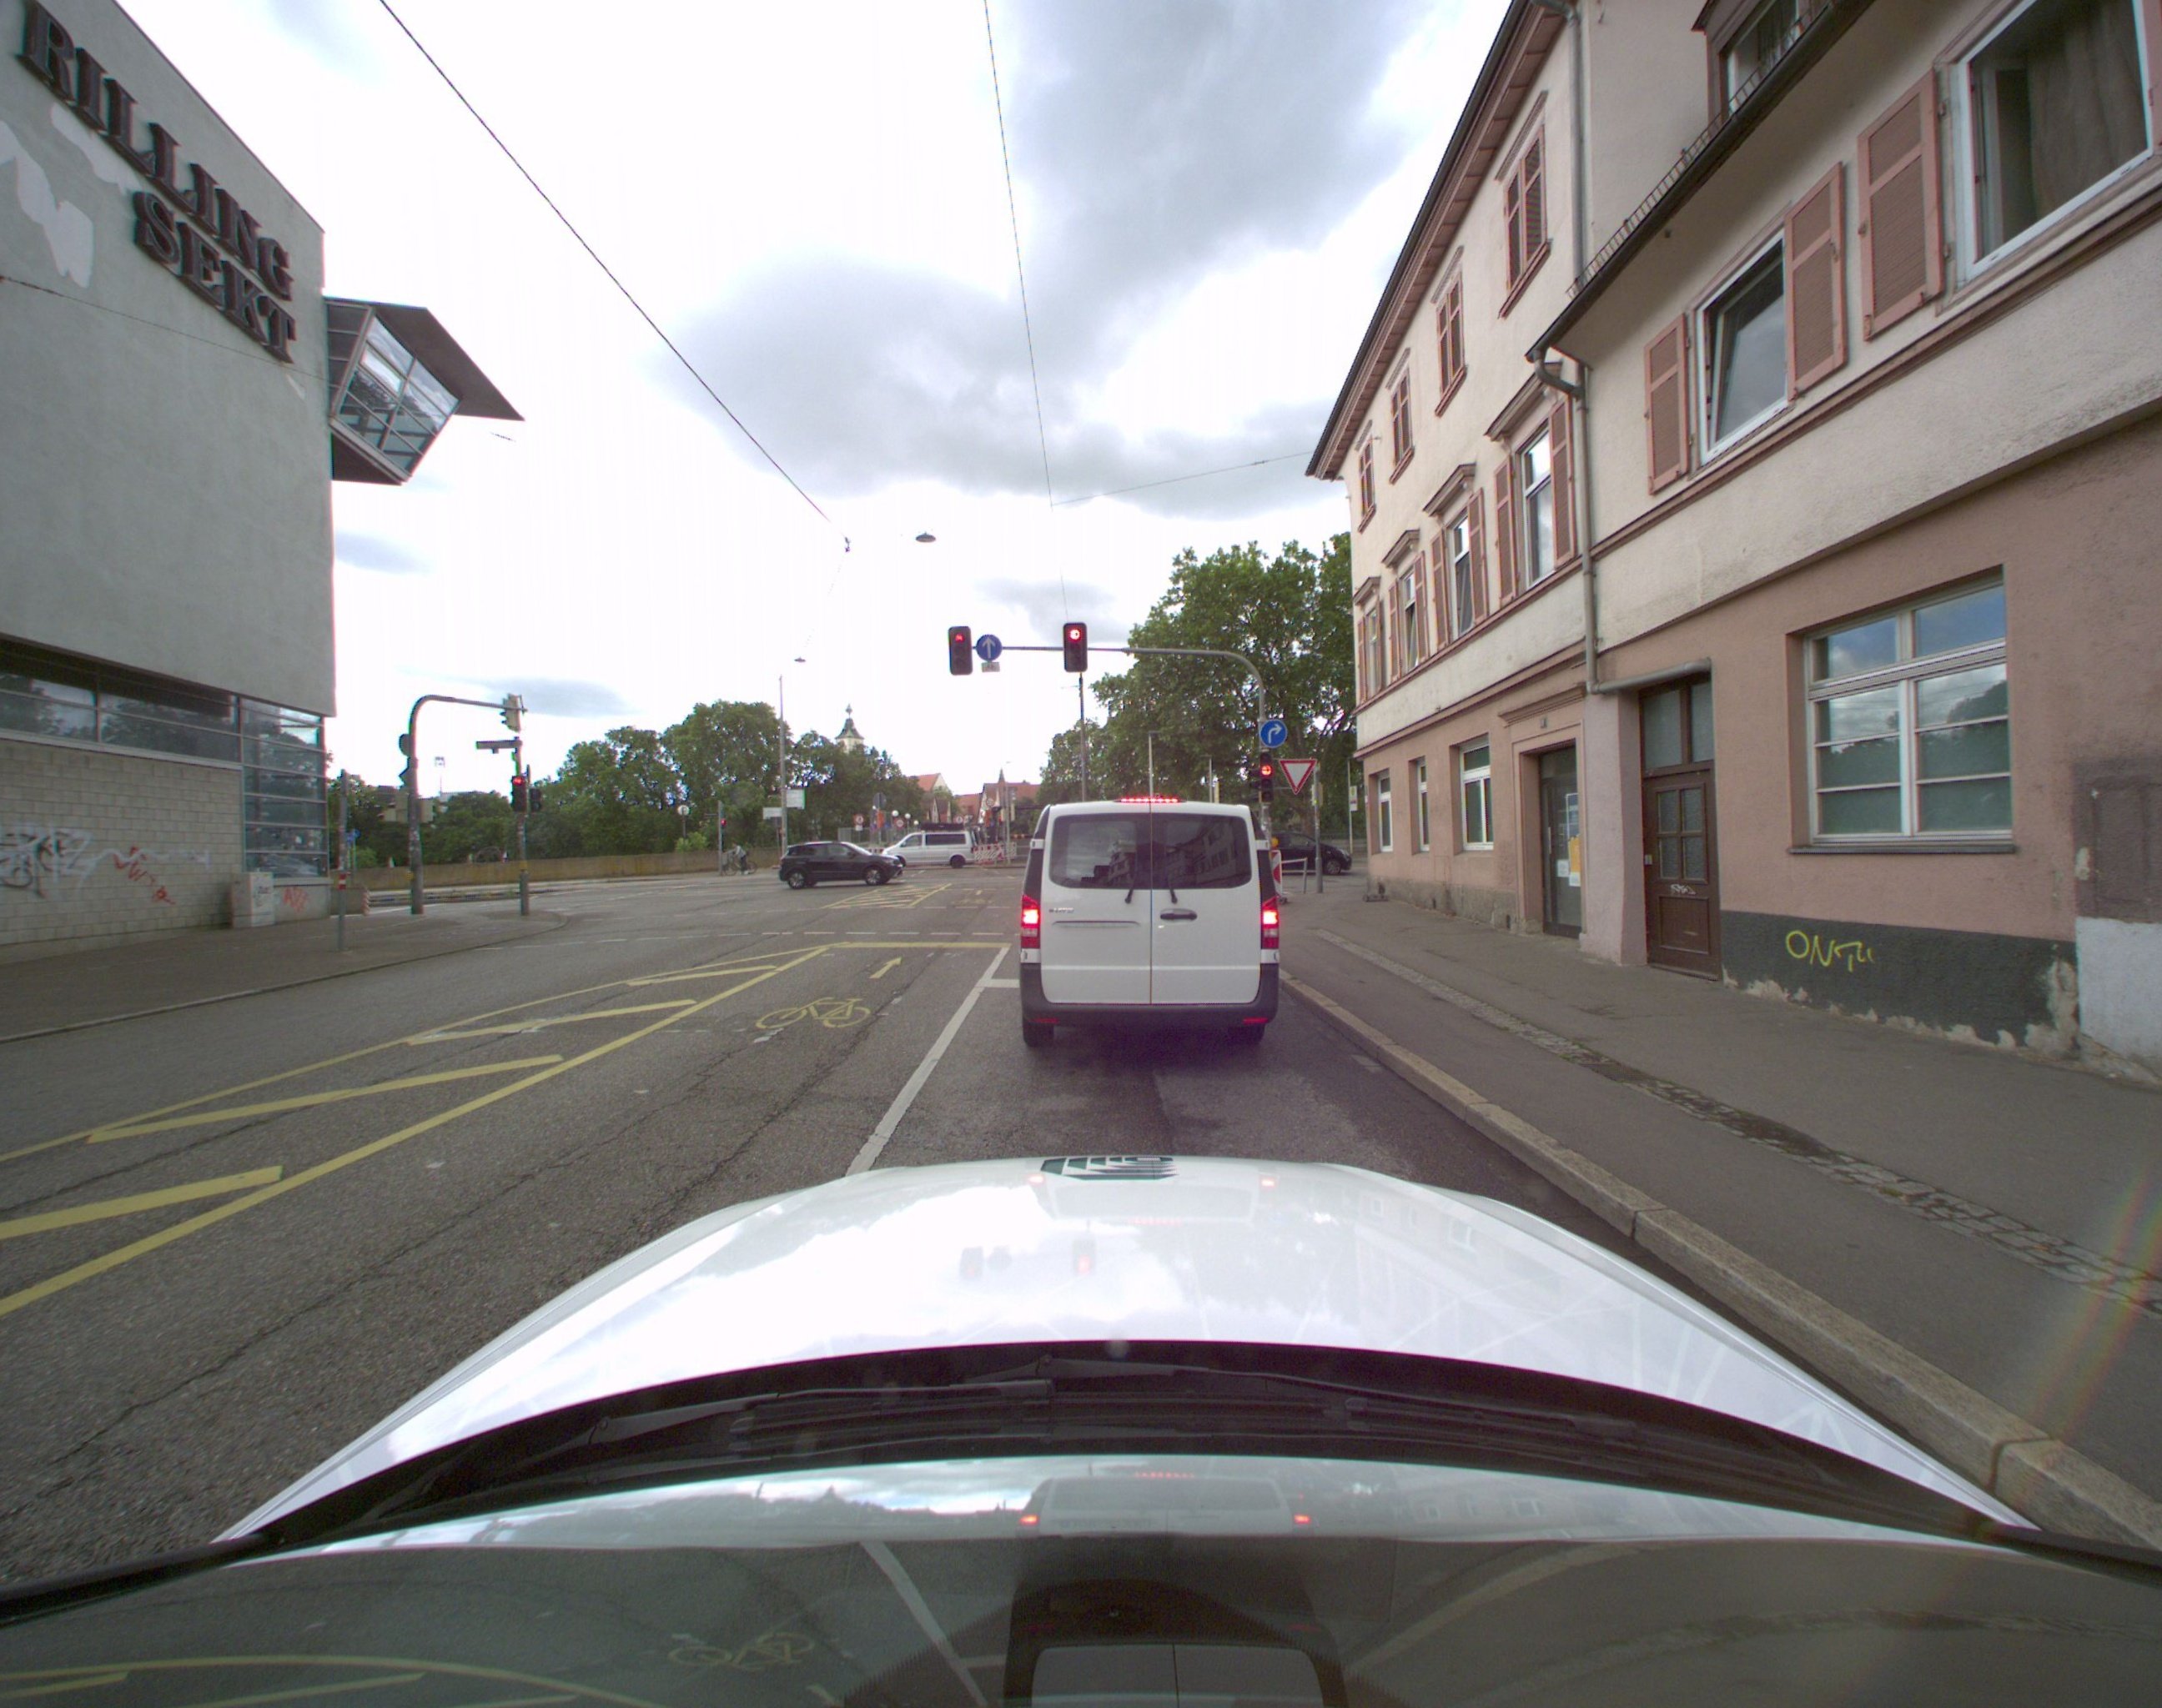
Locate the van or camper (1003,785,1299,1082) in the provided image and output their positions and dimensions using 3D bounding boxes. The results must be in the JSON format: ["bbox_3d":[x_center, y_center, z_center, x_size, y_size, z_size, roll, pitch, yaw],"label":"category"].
[{"bbox_3d":[0.424,0.448,7.544,1.932,1.924,4.439,0,2,-1],"label":"van or camper"}]

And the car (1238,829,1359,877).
[{"bbox_3d":[7.343,-0.057,27.784,3.726,1.428,1.831,-2,2,5],"label":"car"}]

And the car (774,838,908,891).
[{"bbox_3d":[-8.204,0.328,28.168,4.061,1.573,1.826,-2,2,-4],"label":"car"}]

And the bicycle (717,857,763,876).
[{"bbox_3d":[-18.209,0.642,43.488,2.149,0.892,0.751,-3,2,-39],"label":"bicycle"}]

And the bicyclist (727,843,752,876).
[{"bbox_3d":[-18.230,0.274,43.474,1.010,1.743,0.746,-2,1,-39],"label":"bicyclist"}]

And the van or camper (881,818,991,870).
[{"bbox_3d":[-7.503,-0.522,42.210,5.395,2.514,2.028,-1,-1,-12],"label":"van or camper"}]
